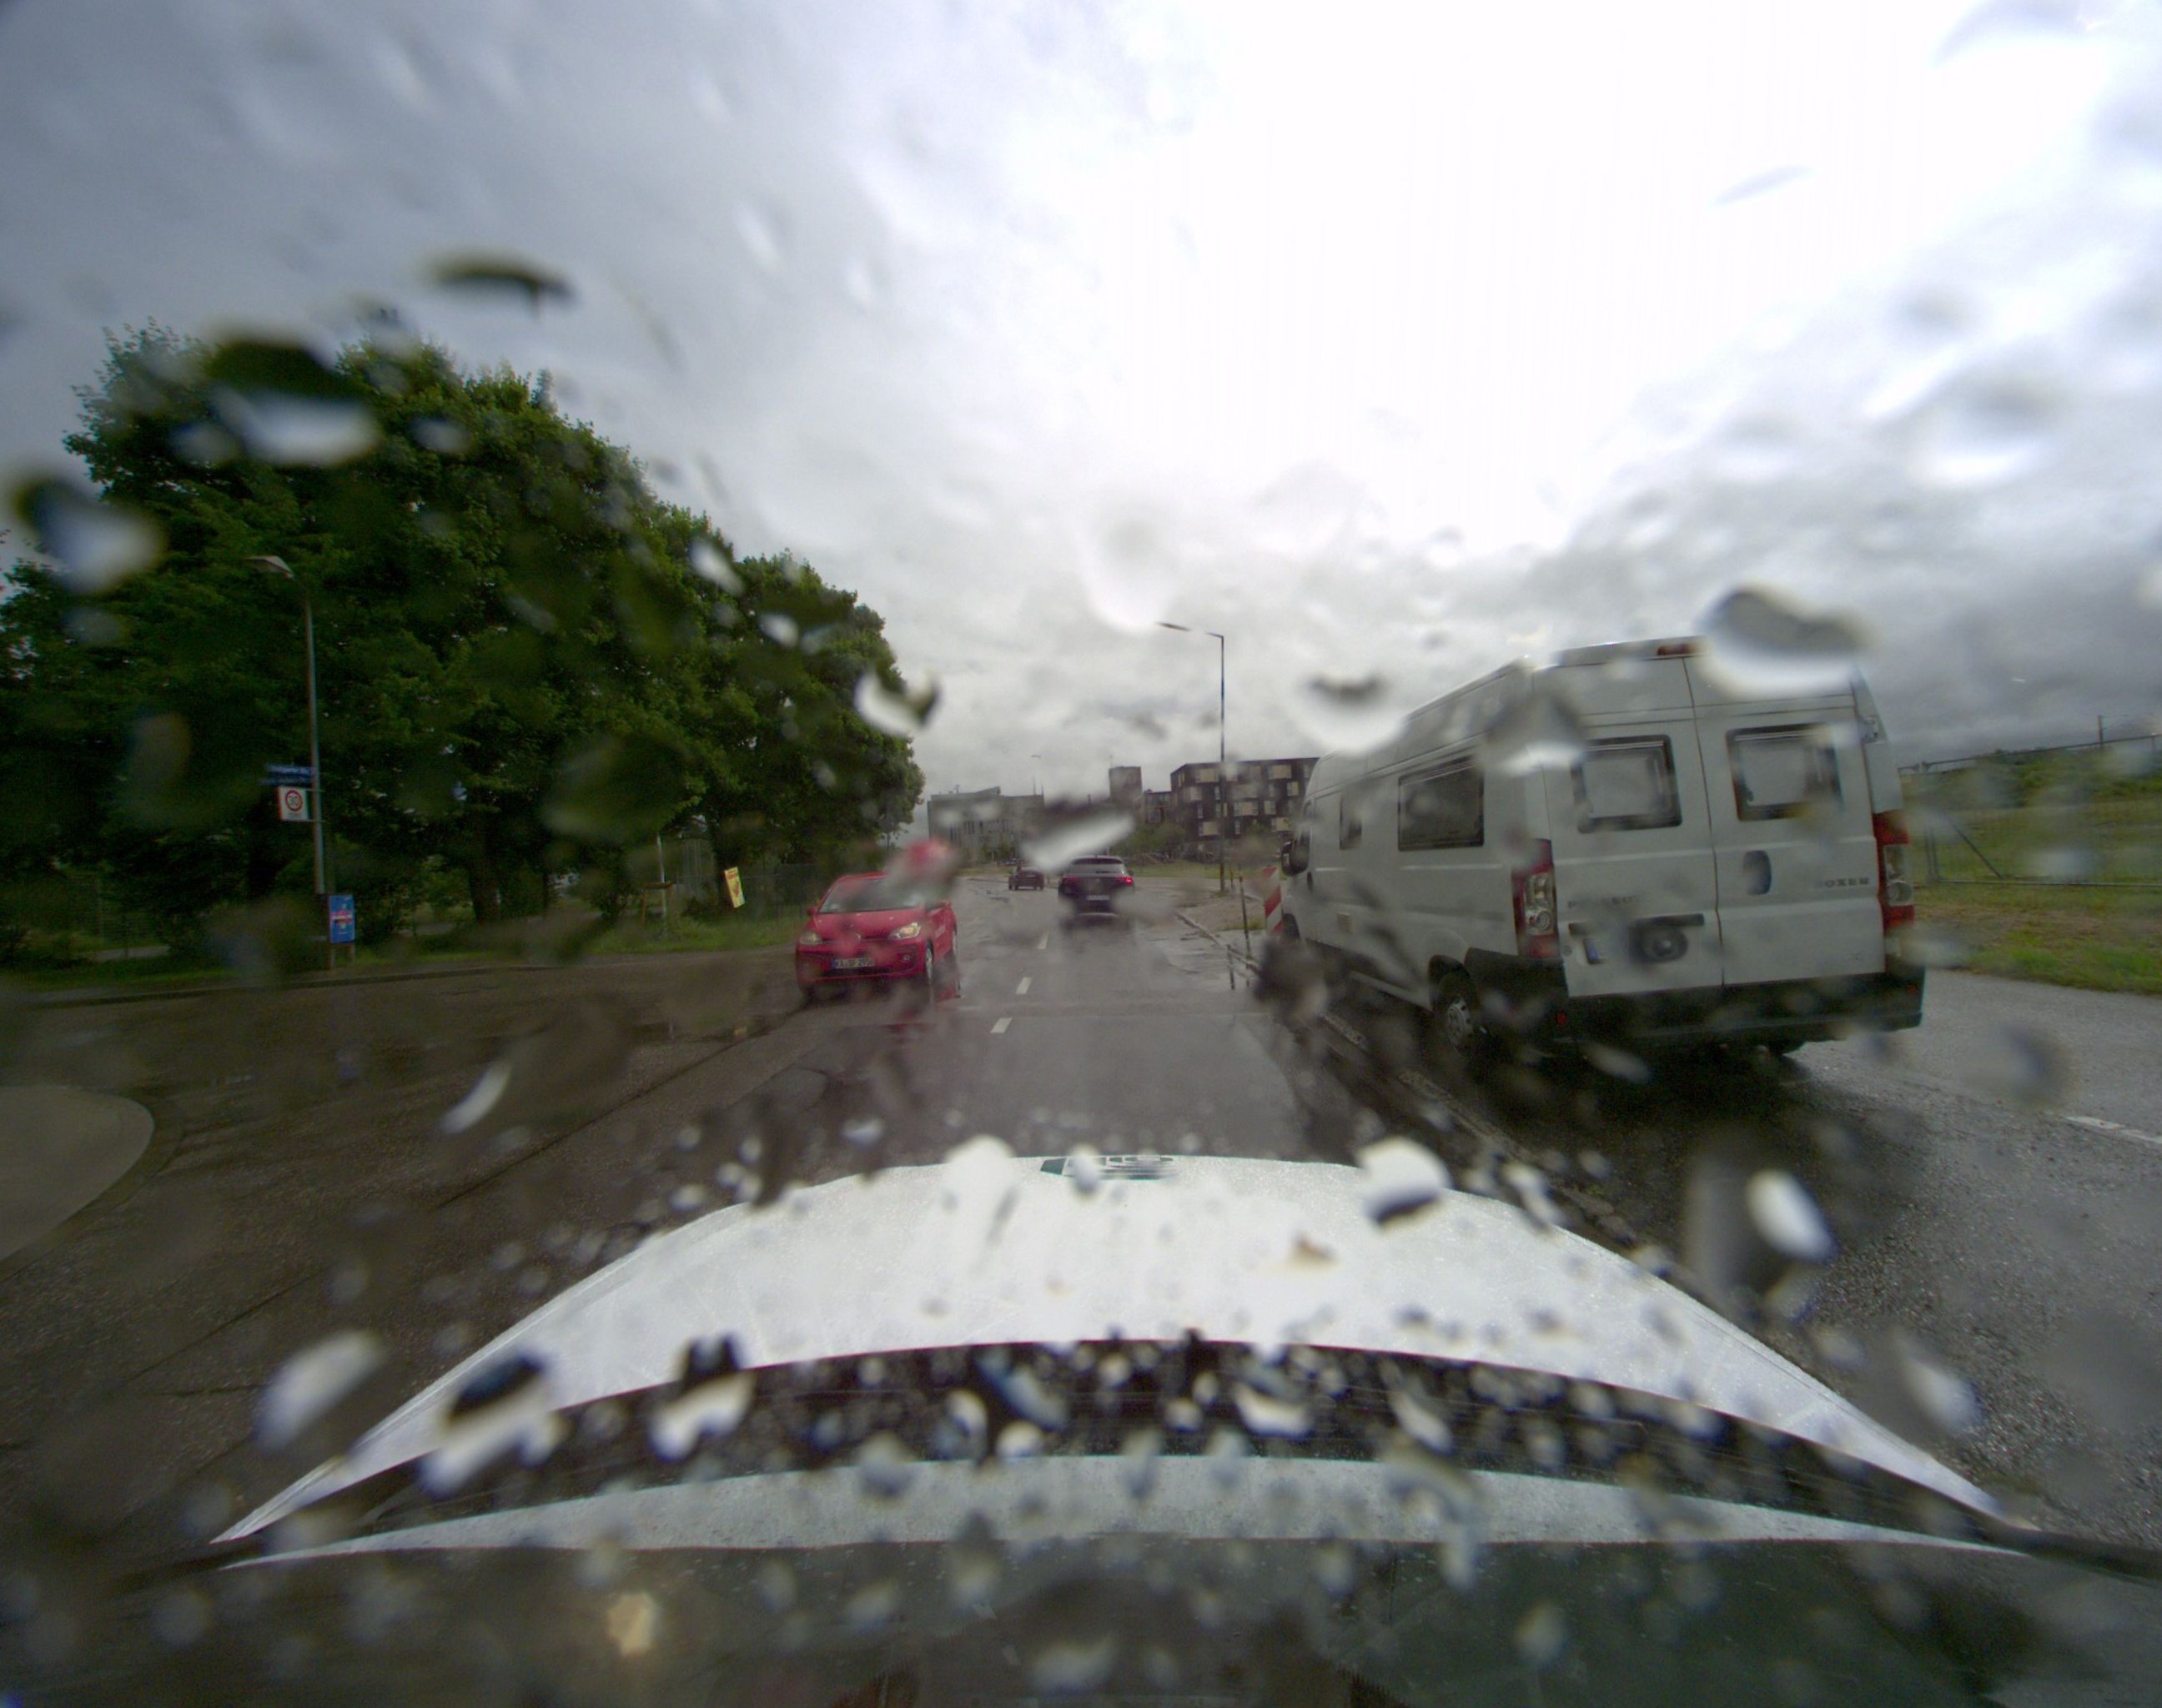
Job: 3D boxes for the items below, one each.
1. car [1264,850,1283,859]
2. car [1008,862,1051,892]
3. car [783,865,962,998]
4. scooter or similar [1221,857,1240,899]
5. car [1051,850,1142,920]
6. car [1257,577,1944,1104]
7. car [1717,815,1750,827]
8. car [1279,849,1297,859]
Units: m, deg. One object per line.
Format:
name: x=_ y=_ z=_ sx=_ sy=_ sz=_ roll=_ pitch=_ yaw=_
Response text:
car: x=30.616 y=0.089 z=129.410 sx=1.760 sy=1.395 sz=3.800 roll=-1 pitch=-1 yaw=-5
car: x=-2.973 y=1.262 z=46.288 sx=1.842 sy=1.442 sz=3.984 roll=-6 pitch=0 yaw=-11
car: x=-2.722 y=0.937 z=11.355 sx=1.653 sy=1.468 sz=3.386 roll=-3 pitch=0 yaw=-2
scooter or similar: x=4.565 y=0.716 z=24.949 sx=0.488 sy=1.215 sz=1.344 roll=-4 pitch=-1 yaw=10
car: x=0.353 y=0.695 z=19.868 sx=1.980 sy=1.520 sz=3.999 roll=-1 pitch=-1 yaw=0
car: x=3.236 y=-0.042 z=7.058 sx=2.084 sy=2.472 sz=5.949 roll=-5 pitch=-1 yaw=1
car: x=105.191 y=-5.288 z=131.406 sx=1.789 sy=1.687 sz=4.366 roll=-1 pitch=-1 yaw=-2
car: x=32.951 y=0.007 z=129.593 sx=1.635 sy=1.396 sz=3.775 roll=-2 pitch=-2 yaw=-4
